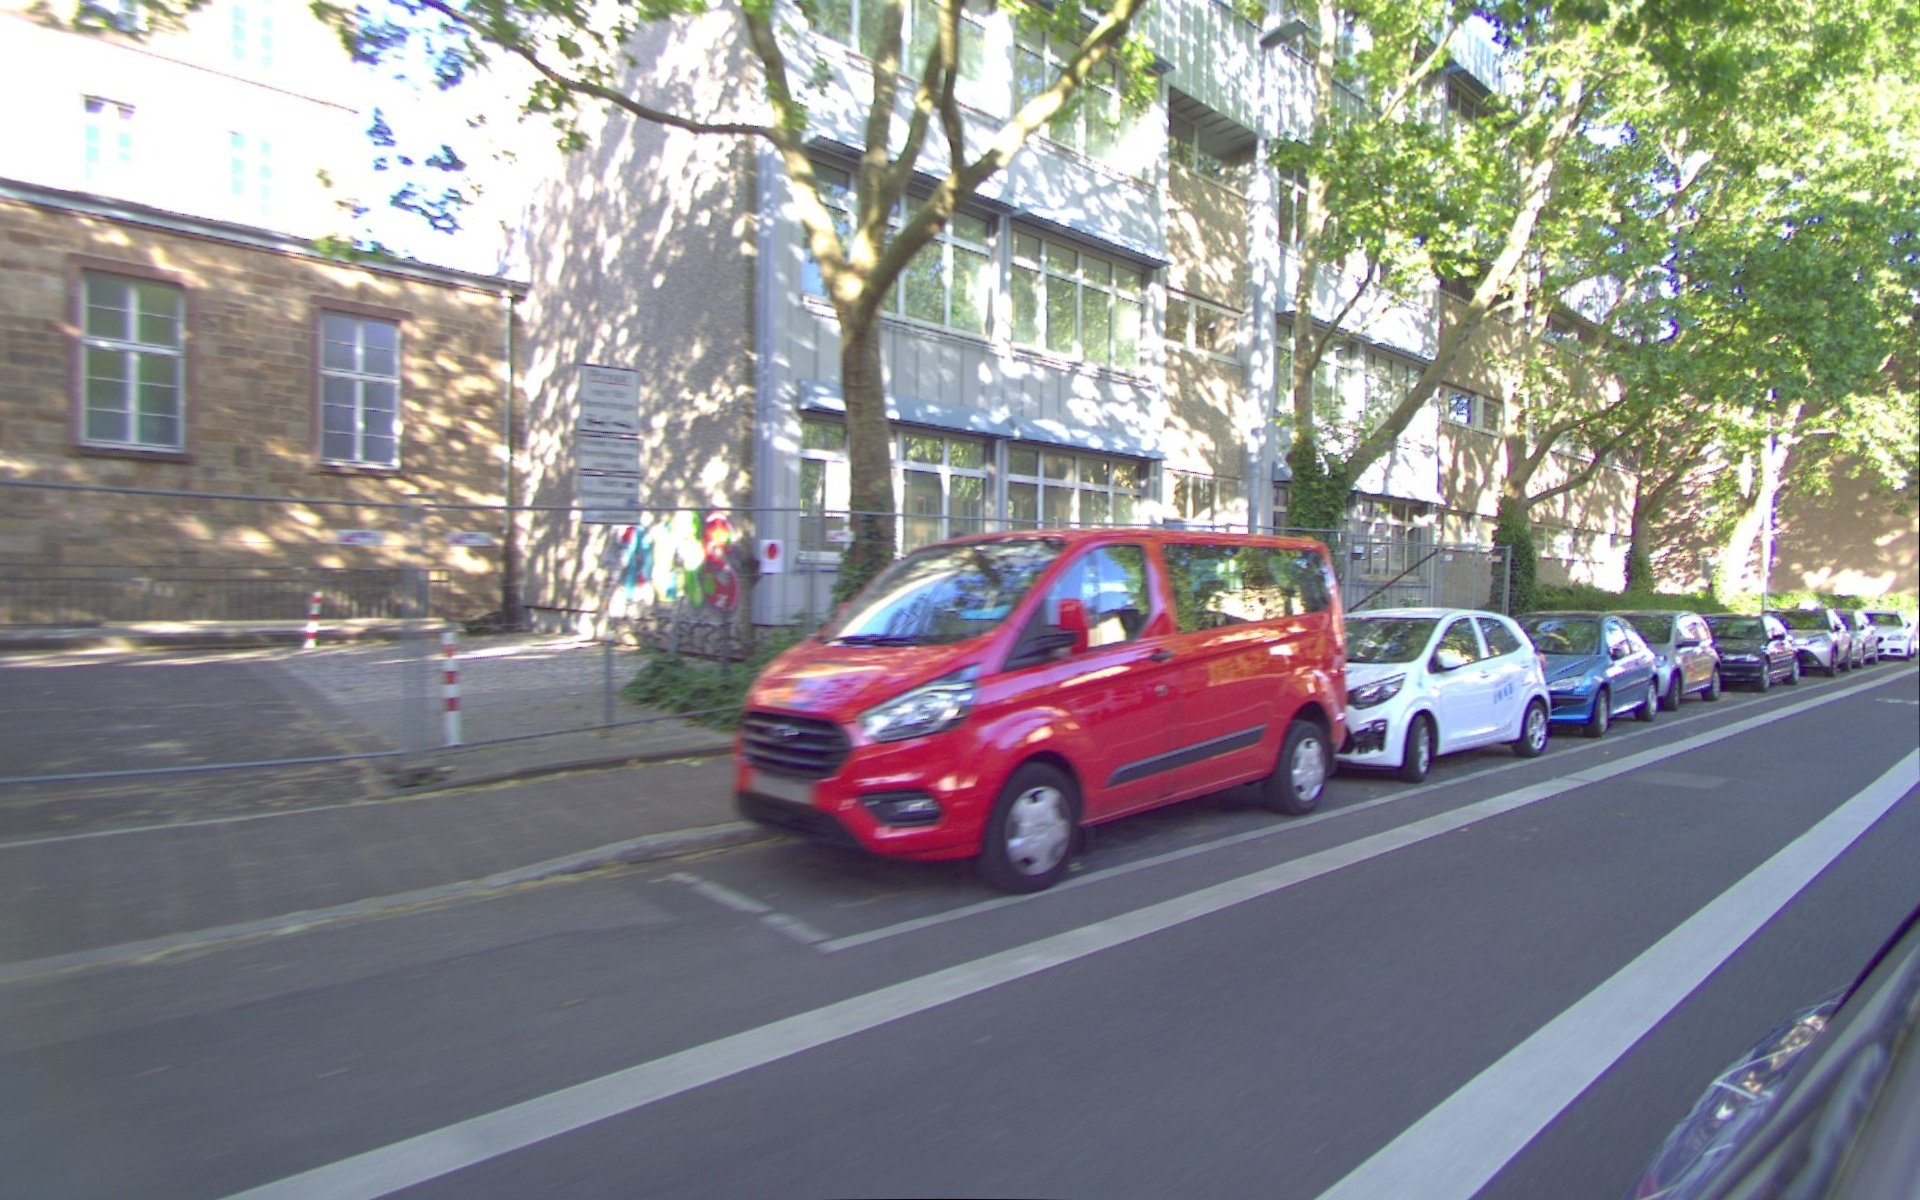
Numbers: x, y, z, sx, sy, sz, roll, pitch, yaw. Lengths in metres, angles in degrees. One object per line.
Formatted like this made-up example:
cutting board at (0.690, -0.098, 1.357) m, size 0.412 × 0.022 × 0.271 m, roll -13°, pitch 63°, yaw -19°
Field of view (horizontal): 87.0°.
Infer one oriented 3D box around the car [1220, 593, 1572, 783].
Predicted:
car at (4.346, 0.709, 9.875) m, size 3.692 × 1.504 × 1.641 m, roll 0°, pitch -1°, yaw -40°

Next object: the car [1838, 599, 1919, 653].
car at (27.898, 0.717, 30.437) m, size 4.888 × 1.455 × 1.856 m, roll 0°, pitch 1°, yaw -44°

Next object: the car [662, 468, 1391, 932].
car at (0.798, 0.435, 6.929) m, size 5.084 × 2.019 × 2.080 m, roll 0°, pitch -1°, yaw -43°

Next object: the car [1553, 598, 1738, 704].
car at (10.853, 0.731, 15.955) m, size 3.432 × 1.494 × 1.615 m, roll 0°, pitch -1°, yaw -42°

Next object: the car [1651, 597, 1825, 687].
car at (15.017, 0.727, 19.448) m, size 4.519 × 1.542 × 1.857 m, roll 0°, pitch -1°, yaw -42°

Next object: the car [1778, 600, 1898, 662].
car at (23.137, 0.748, 26.615) m, size 4.523 × 1.455 × 1.858 m, roll 0°, pitch 0°, yaw -42°

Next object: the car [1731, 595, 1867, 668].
car at (19.636, 0.672, 23.625) m, size 4.223 × 1.542 × 1.858 m, roll 0°, pitch 0°, yaw -42°

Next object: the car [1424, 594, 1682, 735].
car at (7.696, 0.724, 12.990) m, size 3.863 × 1.530 × 1.856 m, roll 0°, pitch -2°, yaw -44°
